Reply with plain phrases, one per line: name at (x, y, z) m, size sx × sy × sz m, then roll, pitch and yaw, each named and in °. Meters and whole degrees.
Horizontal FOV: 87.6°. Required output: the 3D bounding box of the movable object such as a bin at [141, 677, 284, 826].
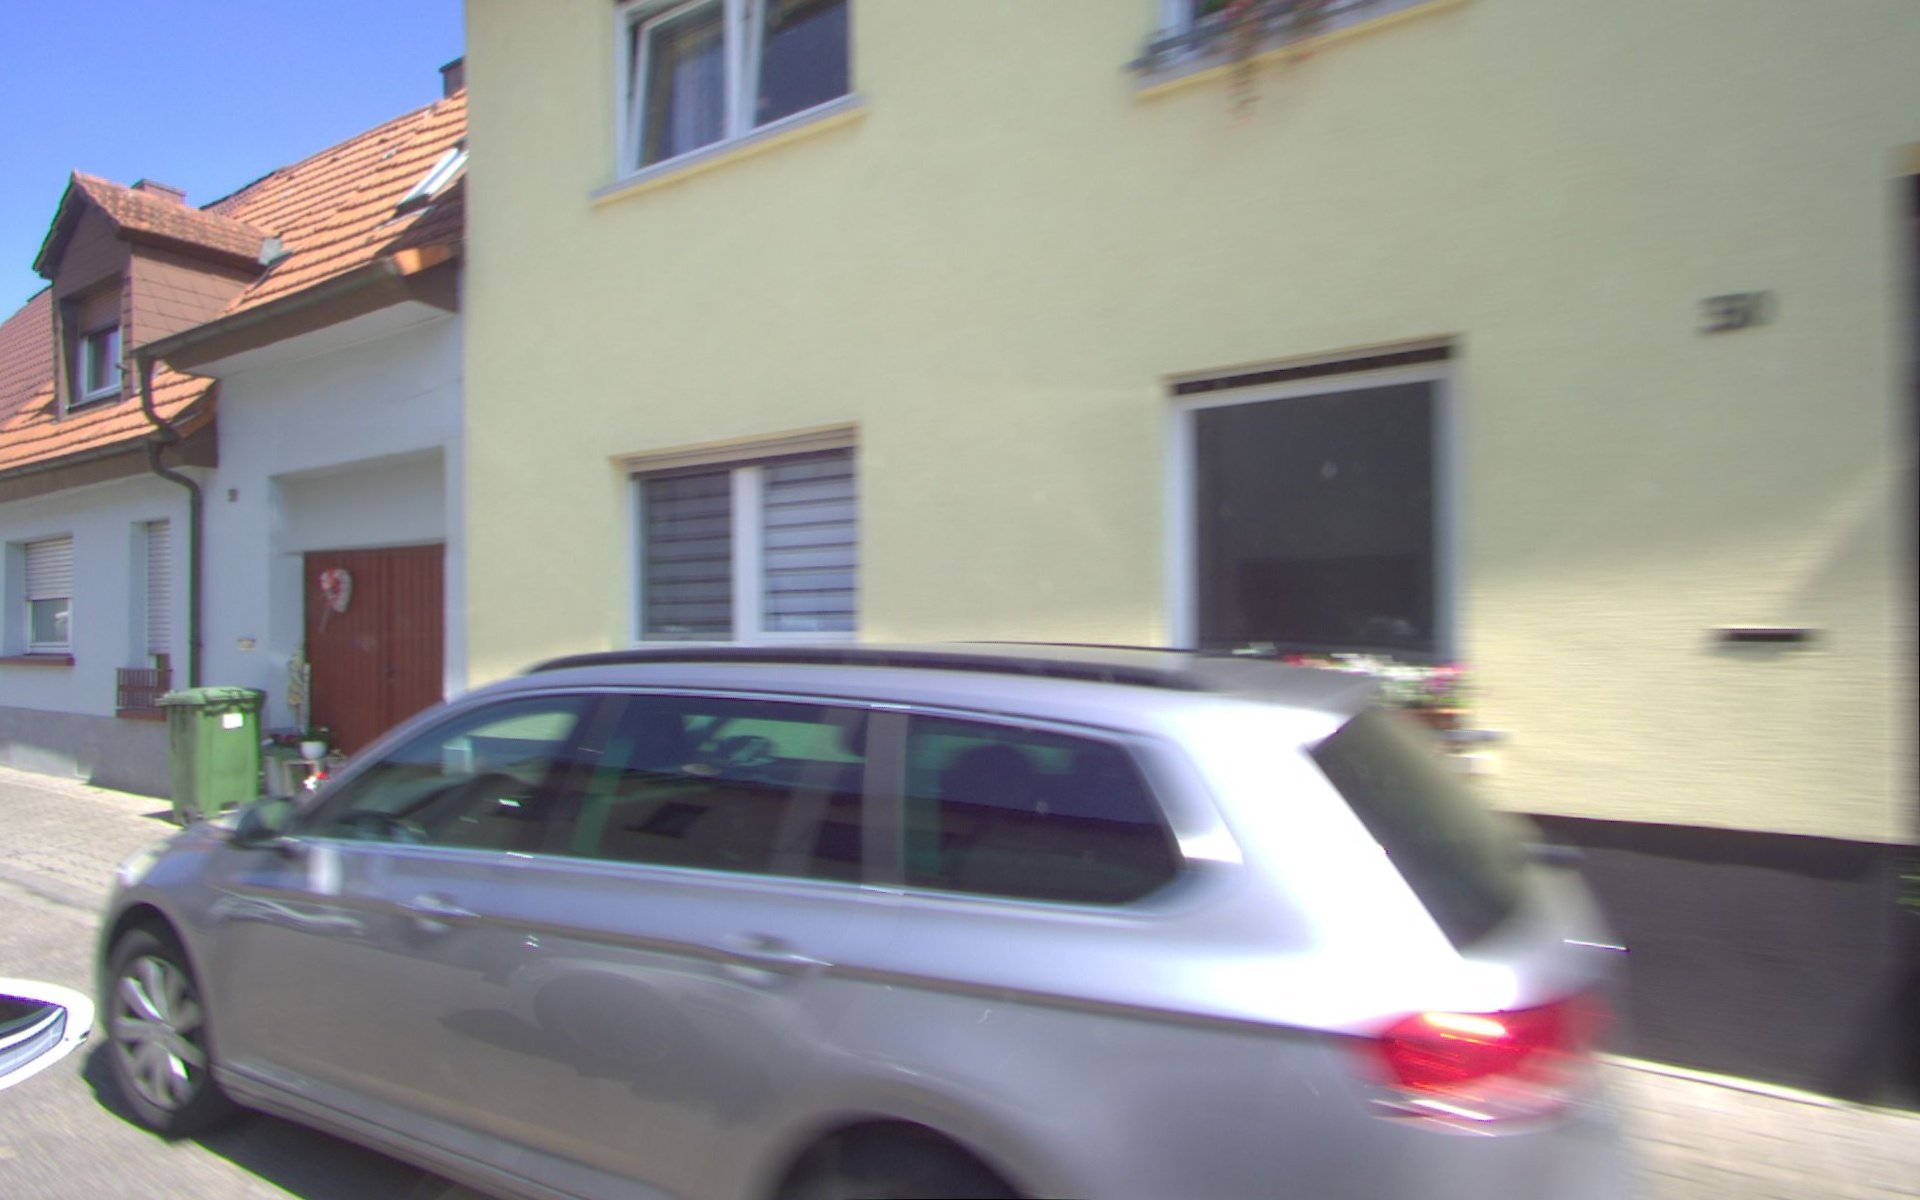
movable object such as a bin at (-6.049, 1.191, 8.111) m, size 0.801 × 1.085 × 0.658 m, roll -1°, pitch -1°, yaw 30°

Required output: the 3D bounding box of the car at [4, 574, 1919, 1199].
car at (-0.662, 0.799, 2.934) m, size 4.705 × 1.466 × 1.837 m, roll -1°, pitch -3°, yaw 30°
